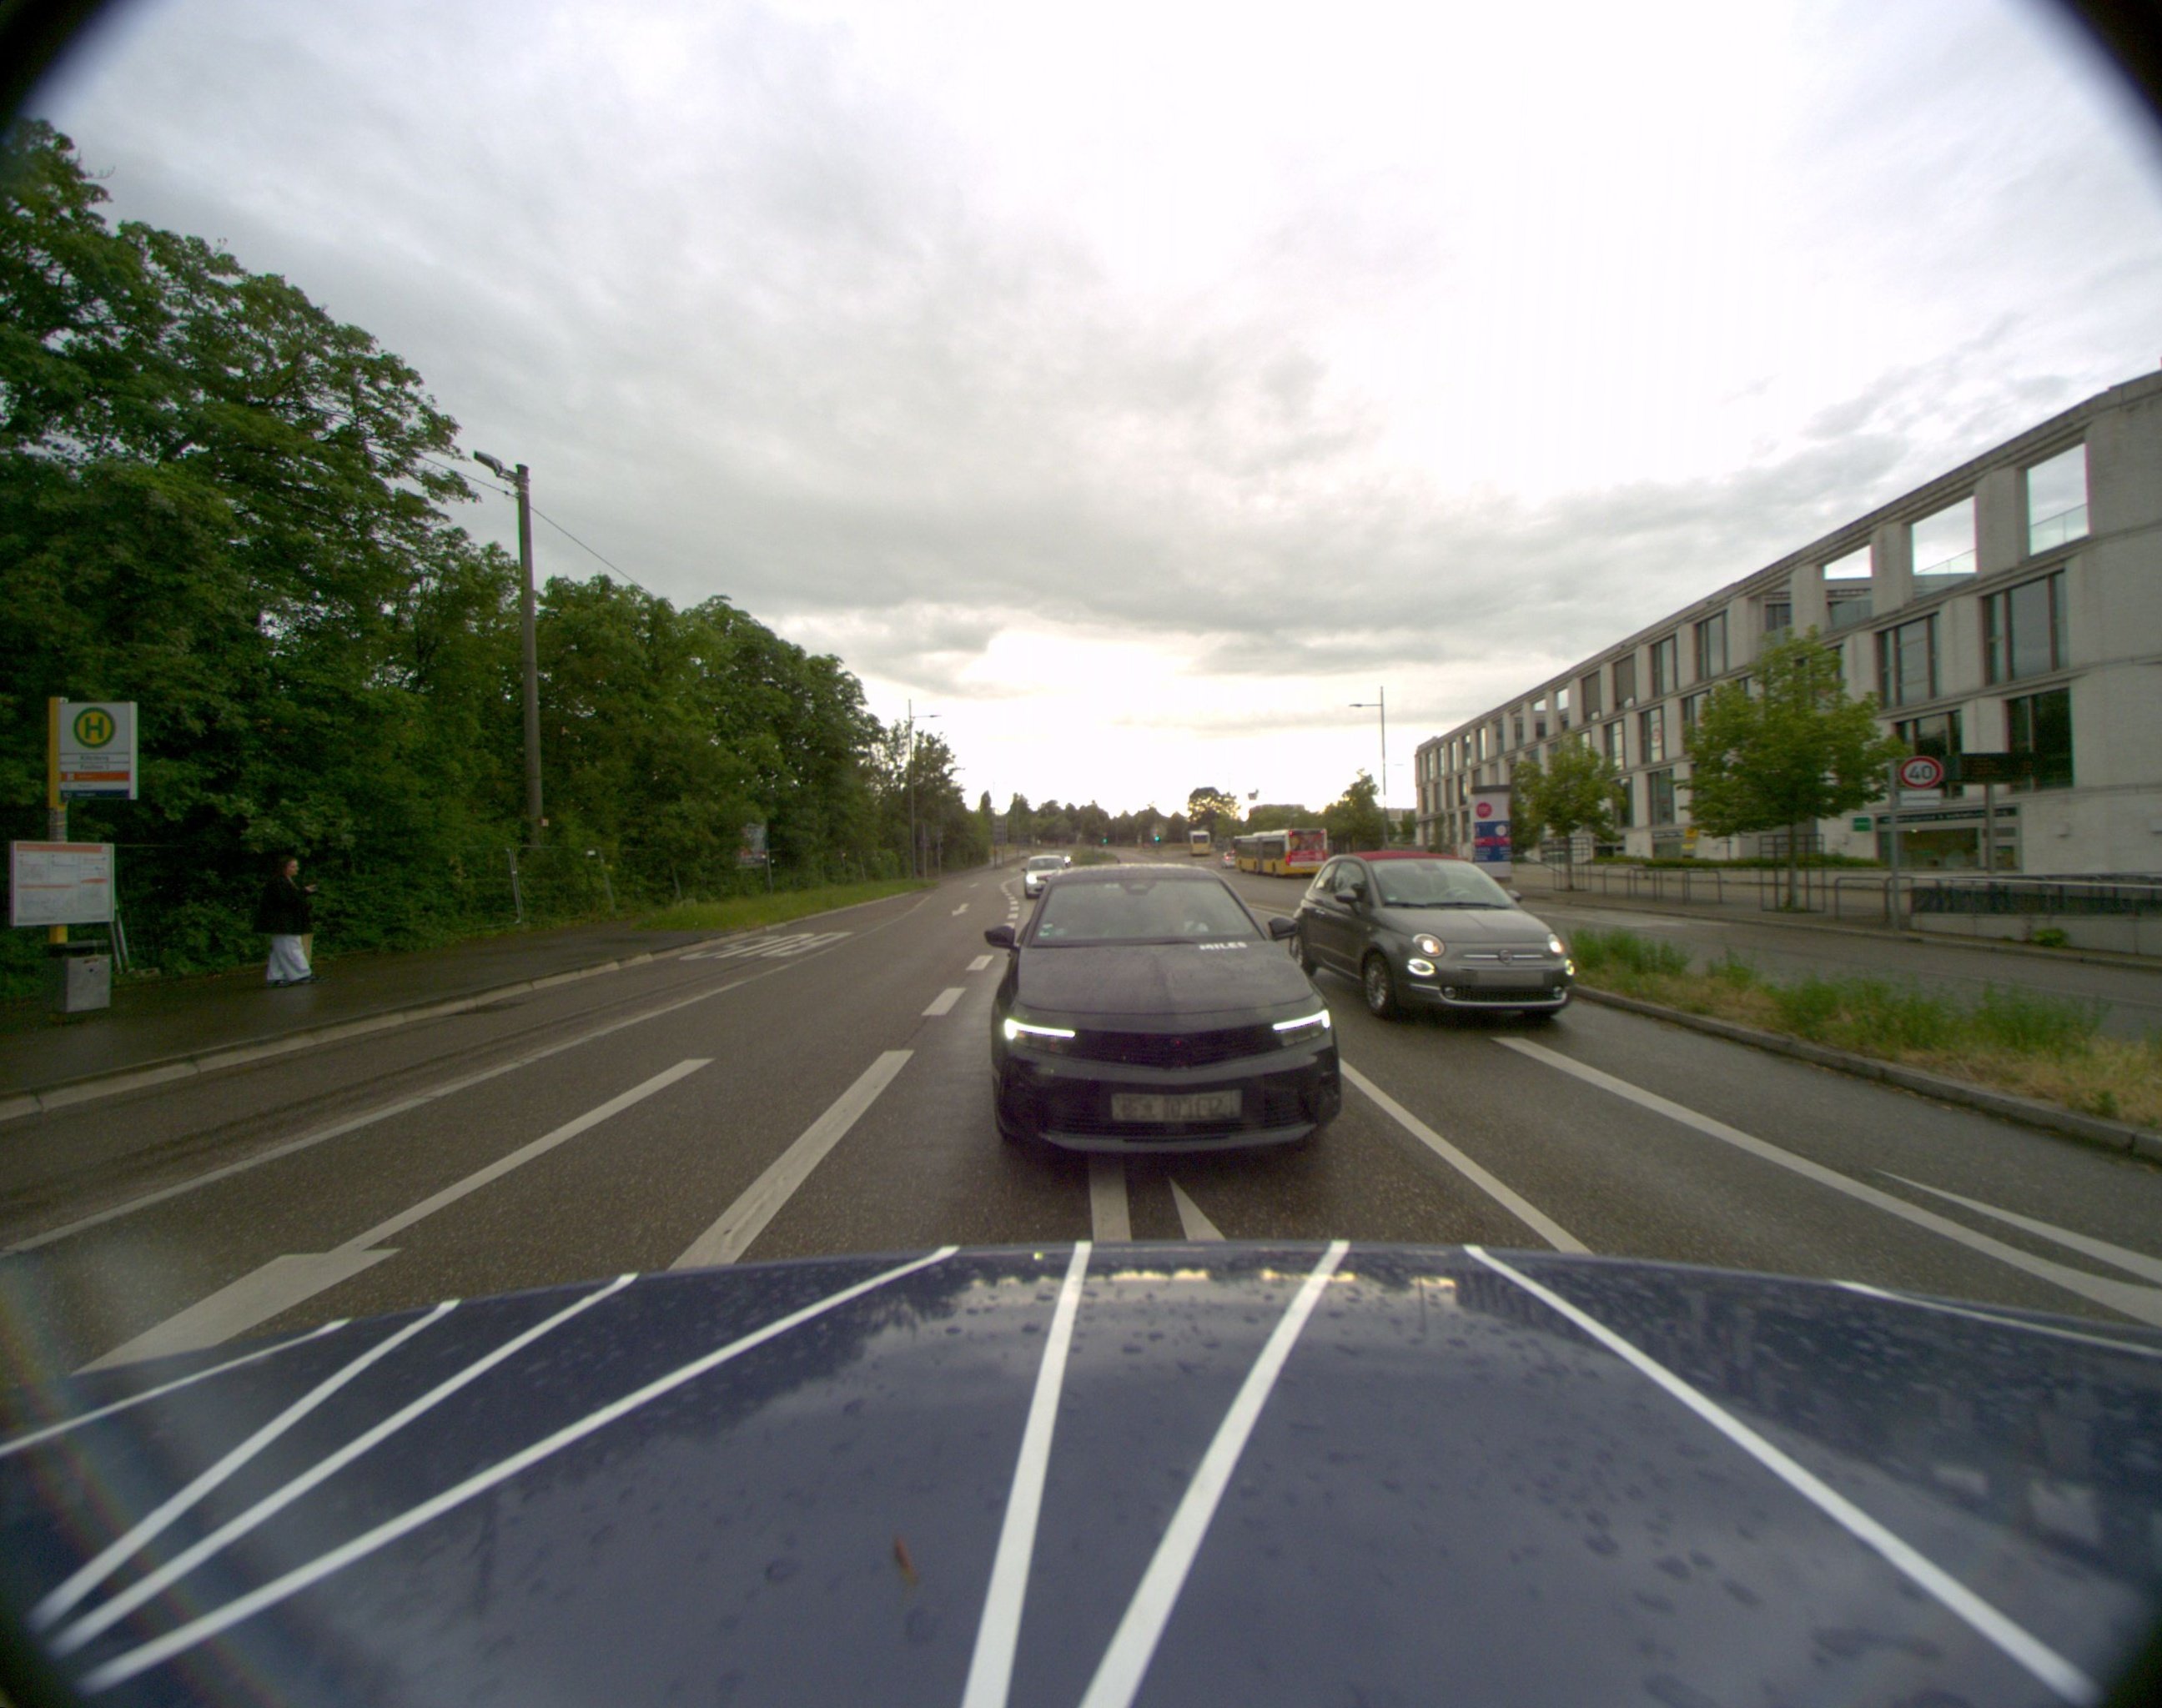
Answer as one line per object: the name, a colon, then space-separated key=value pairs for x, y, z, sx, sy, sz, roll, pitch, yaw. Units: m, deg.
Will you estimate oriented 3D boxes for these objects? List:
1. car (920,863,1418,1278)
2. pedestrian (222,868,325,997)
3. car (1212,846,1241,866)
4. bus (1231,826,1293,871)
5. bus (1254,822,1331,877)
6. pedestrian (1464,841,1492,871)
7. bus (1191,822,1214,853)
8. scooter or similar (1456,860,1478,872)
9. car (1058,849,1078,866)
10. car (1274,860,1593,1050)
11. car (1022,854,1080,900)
car: x=0.379 y=0.885 z=5.361 sx=1.901 sy=1.456 sz=4.767 roll=-2 pitch=1 yaw=1
pedestrian: x=-10.574 y=1.009 z=9.975 sx=0.588 sy=1.618 sz=0.661 roll=-1 pitch=1 yaw=1
car: x=13.574 y=0.164 z=71.112 sx=1.867 sy=1.777 sz=3.999 roll=-2 pitch=1 yaw=1
bus: x=14.113 y=-0.452 z=60.040 sx=2.693 sy=3.163 sz=9.912 roll=-2 pitch=1 yaw=2
bus: x=13.822 y=-0.313 z=50.536 sx=2.759 sy=3.194 sz=9.207 roll=-2 pitch=1 yaw=2
pedestrian: x=21.369 y=0.087 z=40.871 sx=0.868 sy=1.572 sz=0.981 roll=-3 pitch=1 yaw=-30
bus: x=18.451 y=-2.430 z=114.313 sx=2.757 sy=4.129 sz=19.359 roll=-2 pitch=1 yaw=11
scooter or similar: x=20.898 y=0.640 z=41.118 sx=0.642 sy=0.648 sz=0.831 roll=-1 pitch=1 yaw=-20
car: x=-1.349 y=0.293 z=77.072 sx=1.934 sy=1.649 sz=4.617 roll=-1 pitch=0 yaw=-2
car: x=3.331 y=0.834 z=7.946 sx=1.631 sy=1.473 sz=3.505 roll=-1 pitch=1 yaw=-2
car: x=-1.260 y=0.814 z=29.503 sx=1.902 sy=1.524 sz=4.765 roll=-2 pitch=1 yaw=-6
